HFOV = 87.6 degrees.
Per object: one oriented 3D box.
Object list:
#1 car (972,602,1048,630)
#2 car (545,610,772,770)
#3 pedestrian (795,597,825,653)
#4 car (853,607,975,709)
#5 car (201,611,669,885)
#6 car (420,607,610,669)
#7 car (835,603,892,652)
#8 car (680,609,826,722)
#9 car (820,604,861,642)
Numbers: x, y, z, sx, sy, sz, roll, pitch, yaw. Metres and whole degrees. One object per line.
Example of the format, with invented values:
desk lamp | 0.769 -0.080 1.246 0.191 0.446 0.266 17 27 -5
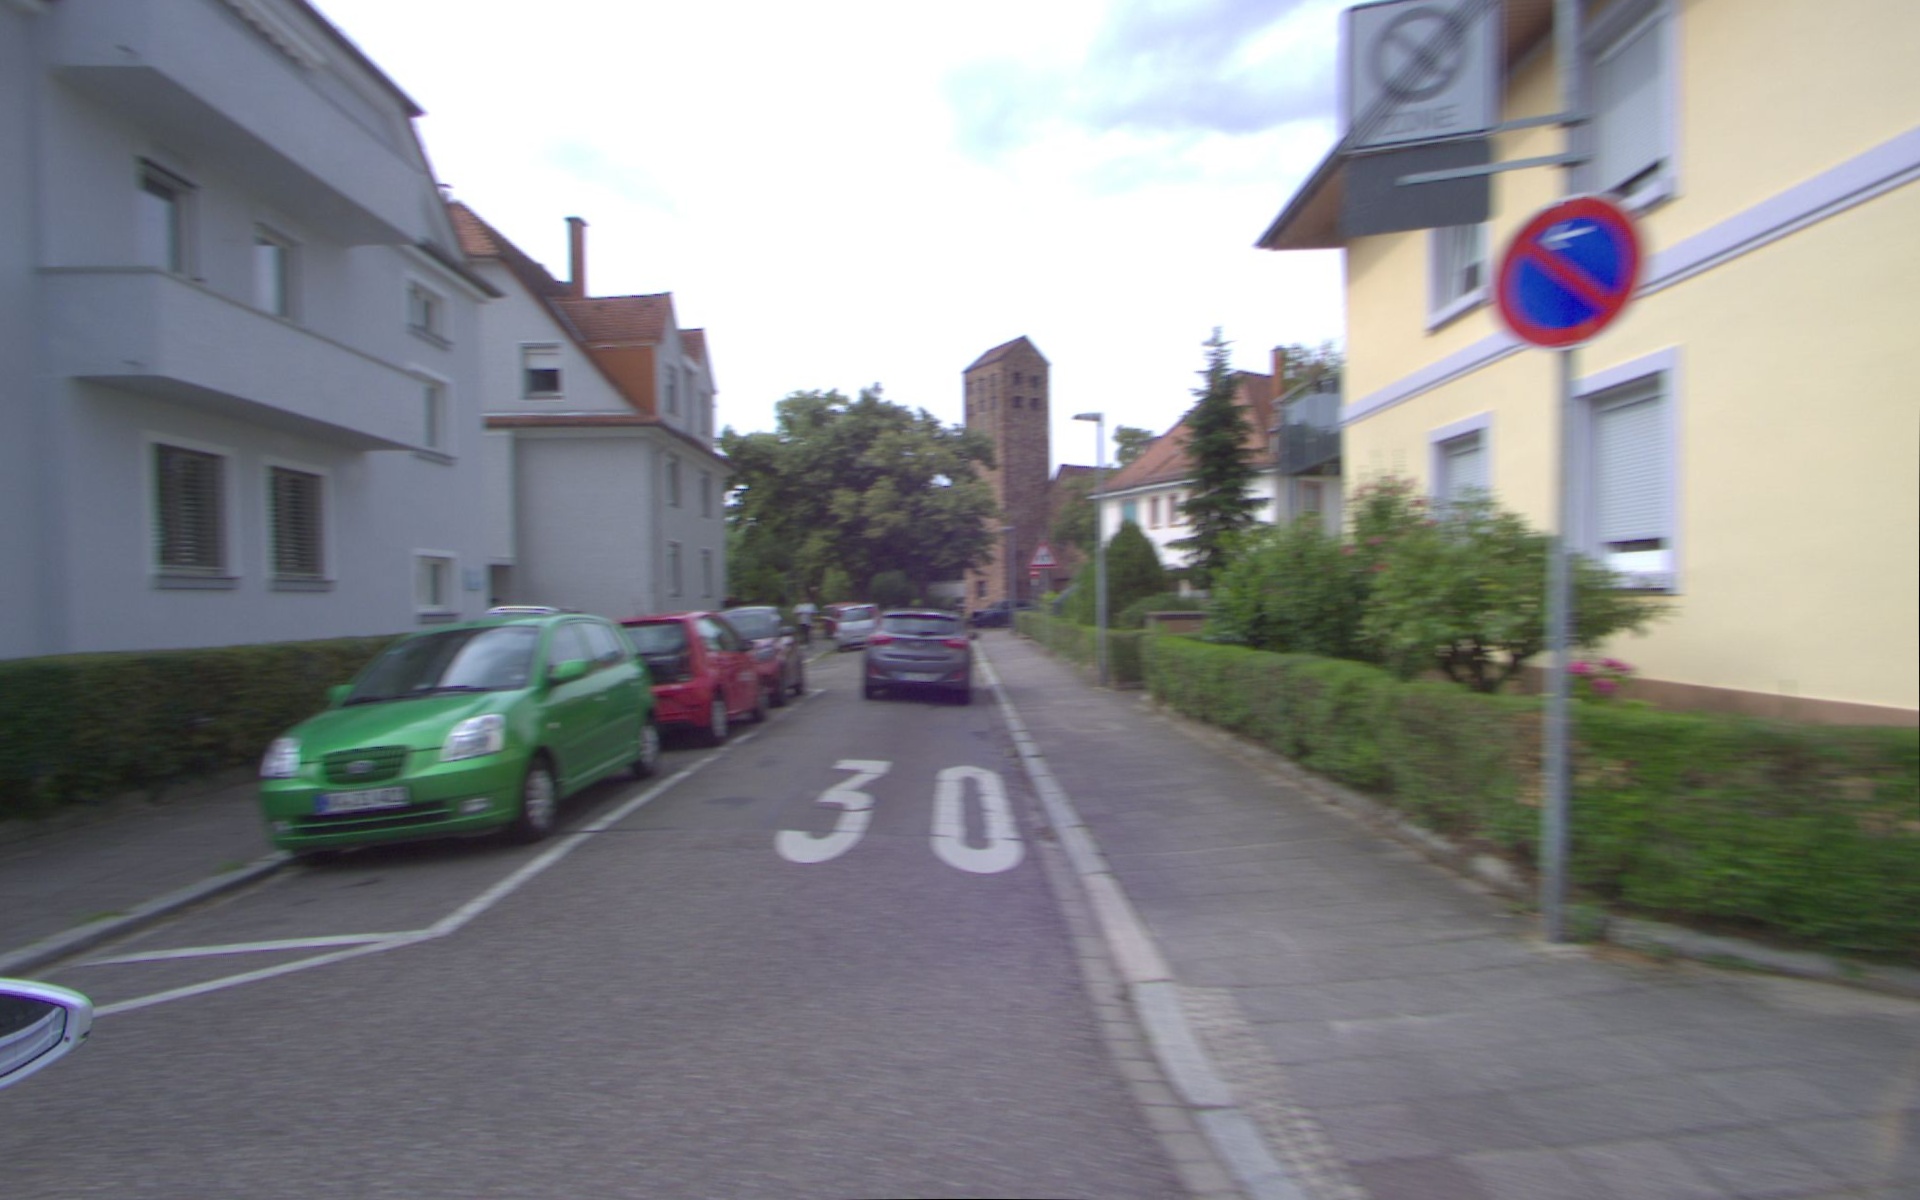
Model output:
car | 2.754 0.876 56.155 4.145 1.484 1.683 0 2 -1
car | -3.405 0.939 11.968 1.619 1.515 3.481 -4 0 -1
pedestrian | -5.199 0.850 34.752 0.867 1.903 1.078 -1 0 0
car | -0.730 0.890 17.201 1.818 1.500 4.041 1 0 -1
car | -3.495 0.865 7.458 1.619 1.440 3.481 -4 0 -1
car | -11.229 0.936 25.457 3.922 1.483 2.000 -1 0 0
car | -3.304 0.931 34.895 1.619 1.515 3.481 -4 0 -1
car | -3.228 0.965 16.247 1.619 1.515 3.481 -4 0 -1
car | -5.359 1.015 44.770 1.619 1.515 3.480 -4 0 -8
